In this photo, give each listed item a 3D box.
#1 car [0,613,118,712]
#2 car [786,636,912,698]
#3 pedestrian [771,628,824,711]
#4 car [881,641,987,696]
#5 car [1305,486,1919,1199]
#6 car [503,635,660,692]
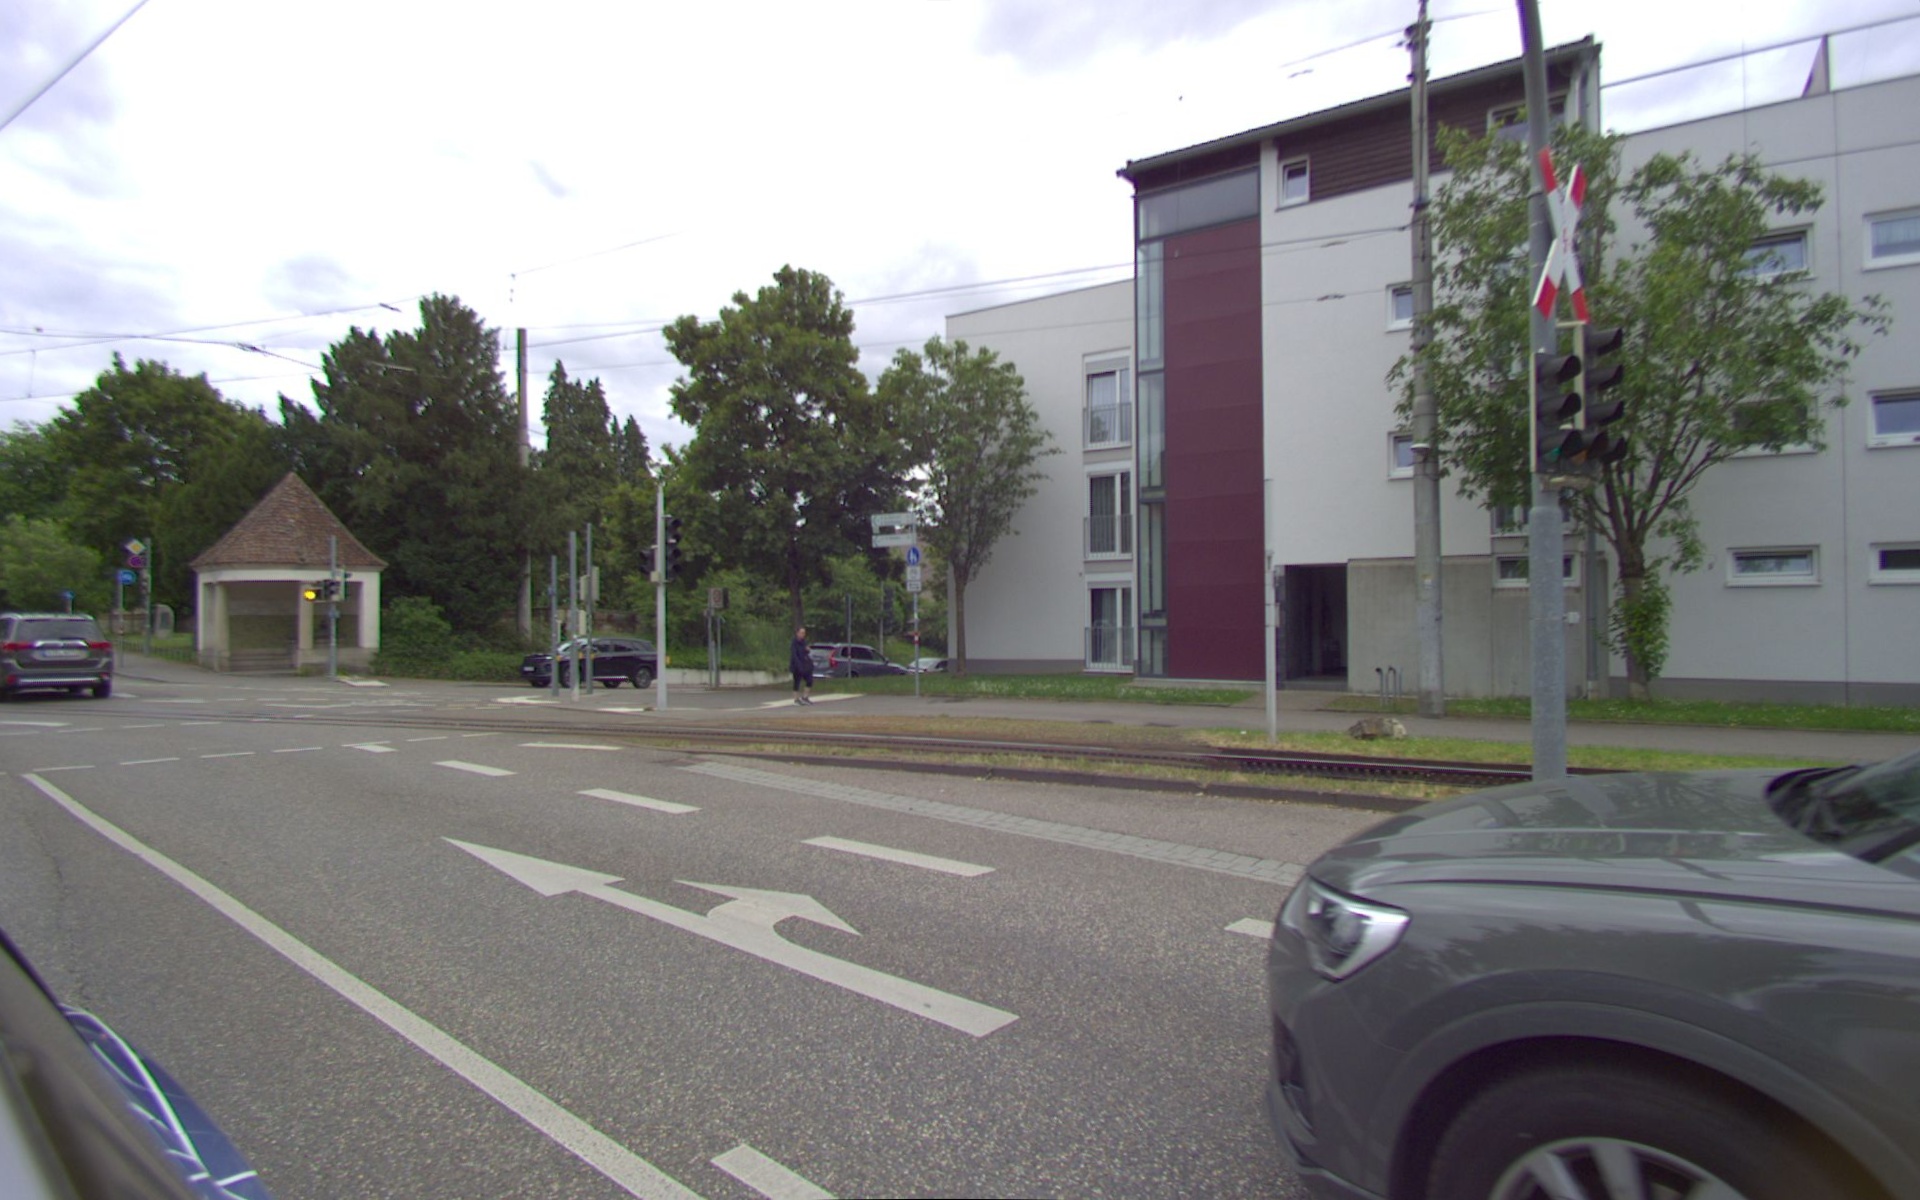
[{"bbox_3d":[-18.432,1.163,20.157,4.486,1.682,1.811,-1,2,41],"label":"car"},{"bbox_3d":[-3.879,2.425,36.046,1.996,2.029,4.416,-1,-5,35],"label":"car"},{"bbox_3d":[-3.306,1.409,20.609,0.817,1.657,0.669,-4,-4,36],"label":"pedestrian"},{"bbox_3d":[-0.979,2.716,40.421,1.996,2.029,4.416,-1,-4,35],"label":"car"},{"bbox_3d":[2.798,0.628,1.225,4.181,1.571,1.721,-1,-2,41],"label":"car"},{"bbox_3d":[-12.200,2.083,32.920,1.961,1.682,4.436,-1,-4,34],"label":"car"}]
